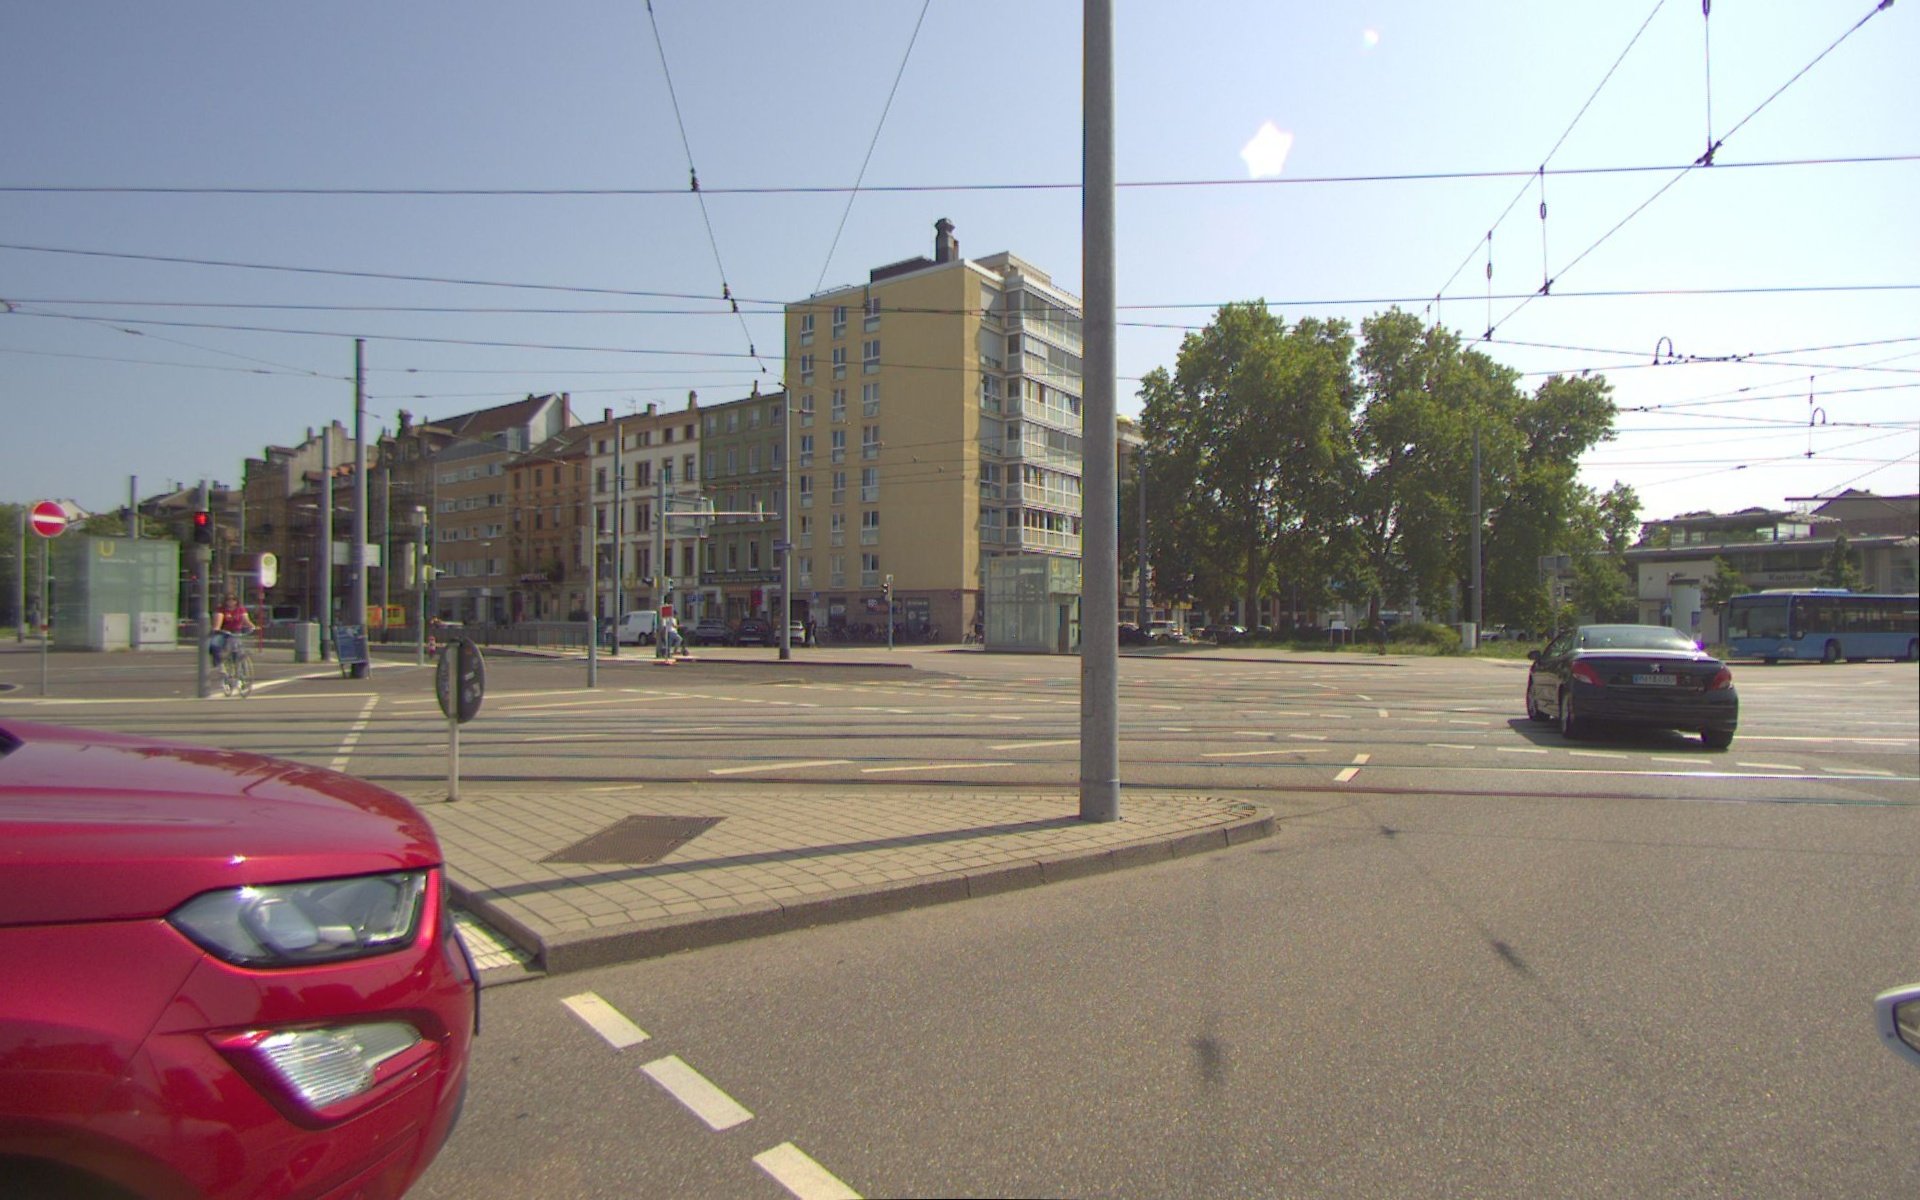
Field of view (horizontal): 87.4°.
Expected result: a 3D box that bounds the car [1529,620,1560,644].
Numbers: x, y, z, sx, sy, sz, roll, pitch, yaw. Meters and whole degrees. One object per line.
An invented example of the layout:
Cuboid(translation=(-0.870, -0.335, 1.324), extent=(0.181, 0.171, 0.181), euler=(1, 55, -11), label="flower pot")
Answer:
Cuboid(translation=(53.657, 2.894, 92.240), extent=(2.292, 2.040, 6.796), euler=(2, 0, 30), label="car")

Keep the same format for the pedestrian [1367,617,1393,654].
Cuboid(translation=(18.776, 1.595, 44.865), extent=(0.934, 1.630, 0.791), euler=(-1, -1, 33), label="pedestrian")

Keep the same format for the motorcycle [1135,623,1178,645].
Cuboid(translation=(10.164, 1.749, 51.959), extent=(0.905, 1.152, 2.087), euler=(1, -2, -41), label="motorcycle")

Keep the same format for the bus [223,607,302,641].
Cuboid(translation=(-67.738, 2.340, 97.453), extent=(12.236, 3.072, 2.533), euler=(-1, -2, 37), label="bus")

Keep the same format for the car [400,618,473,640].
Cuboid(translation=(-36.850, 2.010, 70.668), extent=(5.449, 1.305, 1.996), euler=(2, 0, 32), label="car")

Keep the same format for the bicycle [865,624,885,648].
Cuboid(translation=(-5.243, 2.200, 62.195), extent=(0.886, 1.423, 3.364), euler=(0, -1, 0), label="bicycle")

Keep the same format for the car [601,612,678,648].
Cuboid(translation=(-16.469, 1.558, 51.602), extent=(3.935, 1.803, 1.790), euler=(-2, -3, 35), label="car")

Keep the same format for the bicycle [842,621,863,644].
Cuboid(translation=(-6.774, 2.018, 63.402), extent=(0.886, 1.423, 3.364), euler=(0, -1, 0), label="bicycle")

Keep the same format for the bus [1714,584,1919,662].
Cuboid(translation=(37.911, 1.020, 43.406), extent=(11.903, 3.105, 2.721), euler=(1, -1, -22), label="bus")

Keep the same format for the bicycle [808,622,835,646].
Cuboid(translation=(-7.971, 1.954, 57.836), extent=(1.764, 1.313, 0.472), euler=(-2, -2, 39), label="bicycle")

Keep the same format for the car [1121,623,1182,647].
Cuboid(translation=(13.750, 2.504, 72.186), extent=(4.005, 1.688, 1.786), euler=(-1, -1, 34), label="car")

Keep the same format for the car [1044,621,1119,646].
Cuboid(translation=(7.454, 2.011, 61.575), extent=(4.175, 1.490, 1.901), euler=(-1, -2, 34), label="car")

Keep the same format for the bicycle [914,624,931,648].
Cuboid(translation=(-2.249, 2.178, 61.127), extent=(0.886, 1.423, 3.364), euler=(0, -1, 0), label="bicycle")

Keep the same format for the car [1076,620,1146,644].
Cuboid(translation=(9.922, 2.089, 65.995), extent=(4.175, 1.490, 1.901), euler=(-1, -2, 34), label="car")

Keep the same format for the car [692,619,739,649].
Cuboid(translation=(-14.595, 2.002, 60.202), extent=(2.005, 1.736, 4.663), euler=(0, -1, -5), label="car")

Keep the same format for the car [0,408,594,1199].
Cuboid(translation=(-2.788, 0.565, 1.326), extent=(4.040, 1.639, 1.751), euler=(1, -2, -34), label="car")

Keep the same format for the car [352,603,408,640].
Cuboid(translation=(-48.115, 1.766, 83.245), extent=(5.515, 2.927, 2.295), euler=(-1, 0, 40), label="car")

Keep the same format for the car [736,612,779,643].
Cuboid(translation=(-11.619, 1.588, 57.900), extent=(1.949, 1.710, 4.390), euler=(0, -1, -5), label="car")

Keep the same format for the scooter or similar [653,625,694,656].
Cuboid(translation=(-10.865, 1.530, 38.114), extent=(0.697, 1.164, 1.338), euler=(0, -1, 34), label="scooter or similar")

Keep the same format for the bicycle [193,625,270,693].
Cuboid(translation=(-12.438, 0.979, 17.126), extent=(1.884, 1.083, 0.612), euler=(-1, -1, 40), label="bicycle")

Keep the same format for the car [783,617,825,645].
Cuboid(translation=(-8.643, 1.711, 55.923), extent=(1.771, 1.520, 3.786), euler=(0, -1, 0), label="car")

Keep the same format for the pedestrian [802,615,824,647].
Cuboid(translation=(-8.043, 1.705, 54.890), extent=(0.886, 1.726, 1.039), euler=(0, -2, 10), label="pedestrian")

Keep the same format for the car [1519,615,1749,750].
Cuboid(translation=(8.536, 0.944, 13.096), extent=(1.761, 1.450, 3.998), euler=(0, -1, 23), label="car")

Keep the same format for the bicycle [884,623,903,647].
Cuboid(translation=(-4.091, 2.130, 62.103), extent=(0.886, 1.423, 3.364), euler=(0, -1, 0), label="bicycle")

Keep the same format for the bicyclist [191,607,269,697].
Cuboid(translation=(-12.446, 0.869, 17.126), extent=(0.965, 1.479, 0.873), euler=(0, -1, 40), label="bicyclist")

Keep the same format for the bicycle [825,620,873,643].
Cuboid(translation=(-7.191, 2.018, 64.895), extent=(3.307, 1.423, 0.901), euler=(-1, -1, 34), label="bicycle")

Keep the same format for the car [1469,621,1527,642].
Cuboid(translation=(47.104, 2.750, 87.977), extent=(4.178, 1.776, 1.715), euler=(0, -1, -4), label="car")

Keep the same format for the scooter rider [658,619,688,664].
Cuboid(translation=(-10.872, 1.565, 38.091), extent=(0.766, 1.695, 0.772), euler=(0, -1, 33), label="scooter rider")
